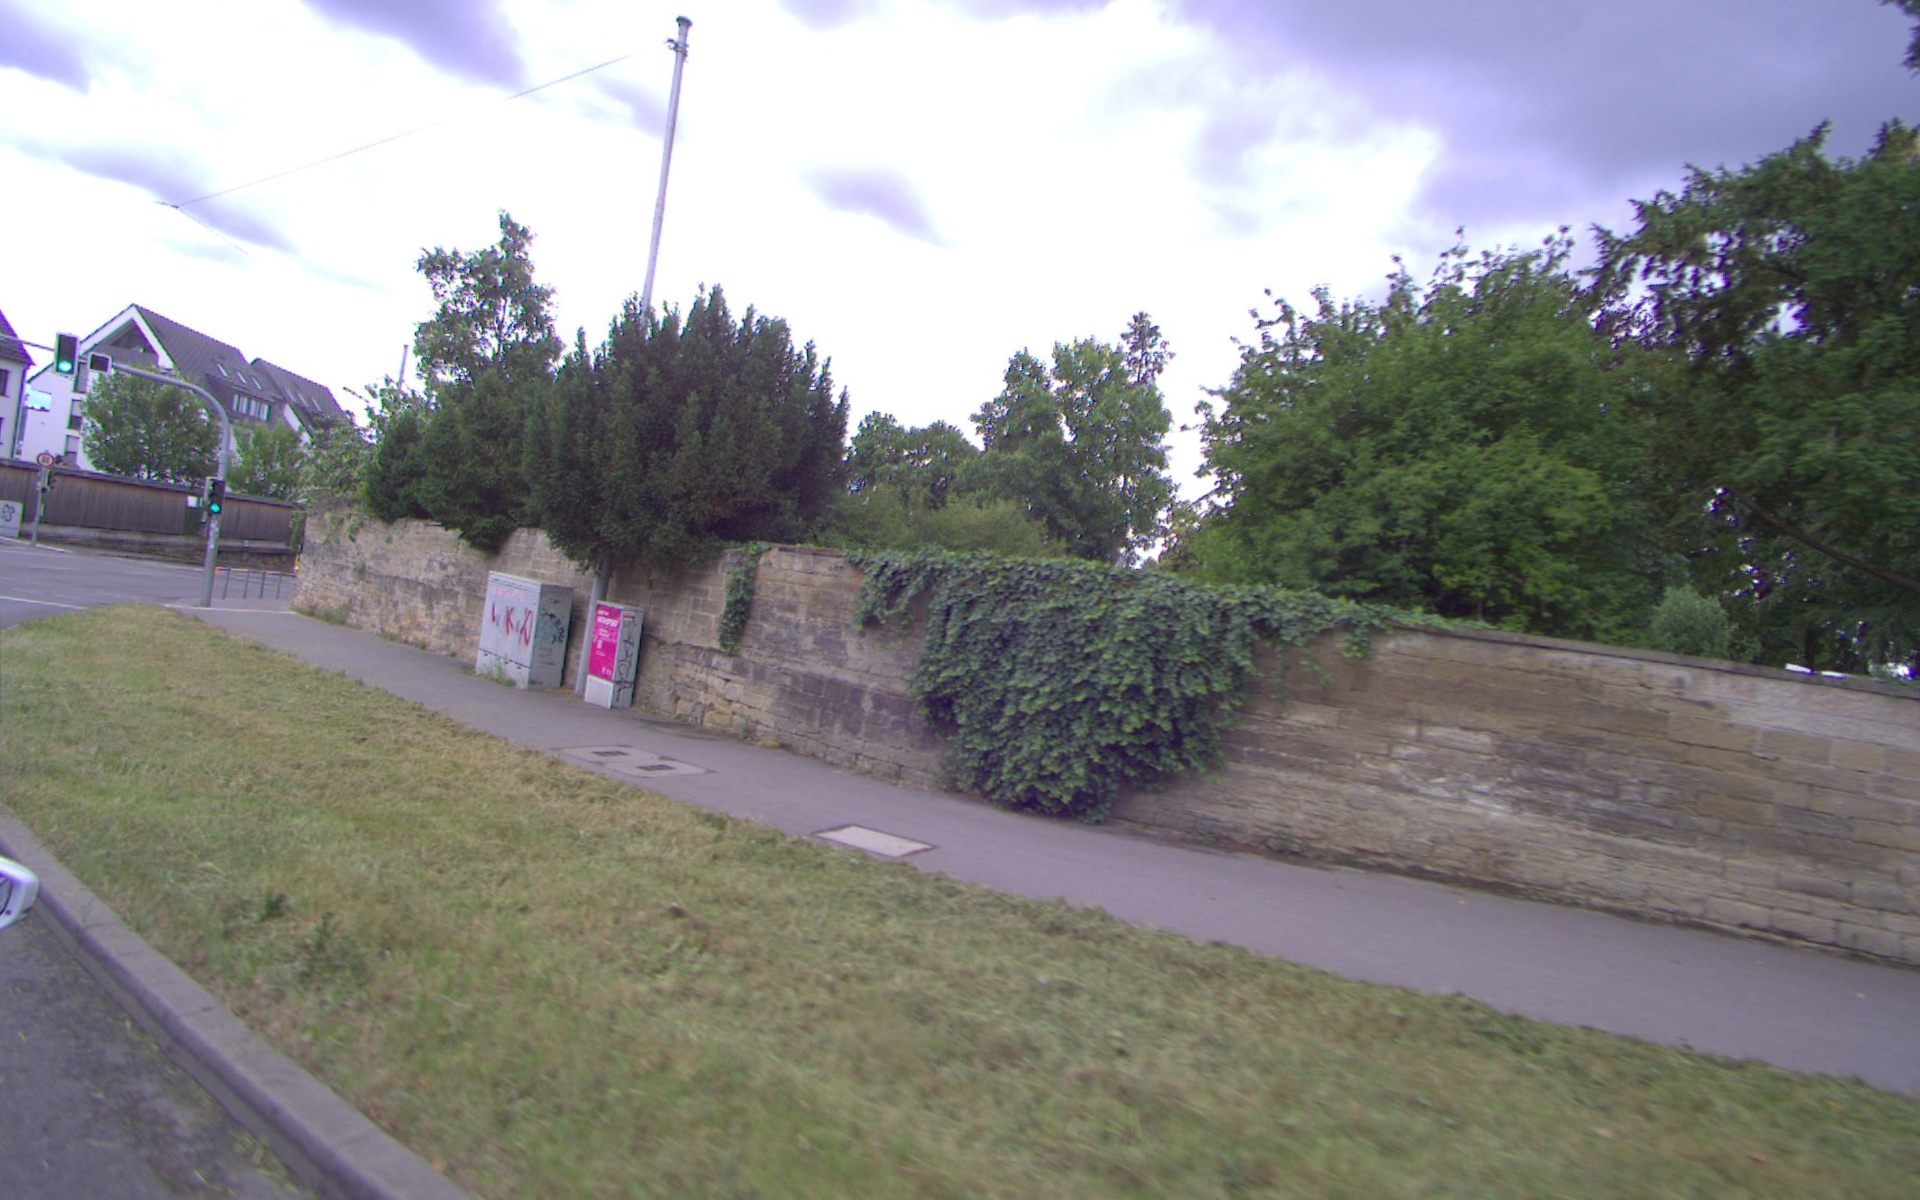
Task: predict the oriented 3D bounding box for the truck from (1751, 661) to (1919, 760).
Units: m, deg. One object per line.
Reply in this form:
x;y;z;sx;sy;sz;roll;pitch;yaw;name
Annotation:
32.591;4.050;36.549;5.674;2.866;2.219;5;-3;35;truck

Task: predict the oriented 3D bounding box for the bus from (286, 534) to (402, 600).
-39.213;-1.944;64.513;2.625;3.153;10.008;10;-4;-11;bus
